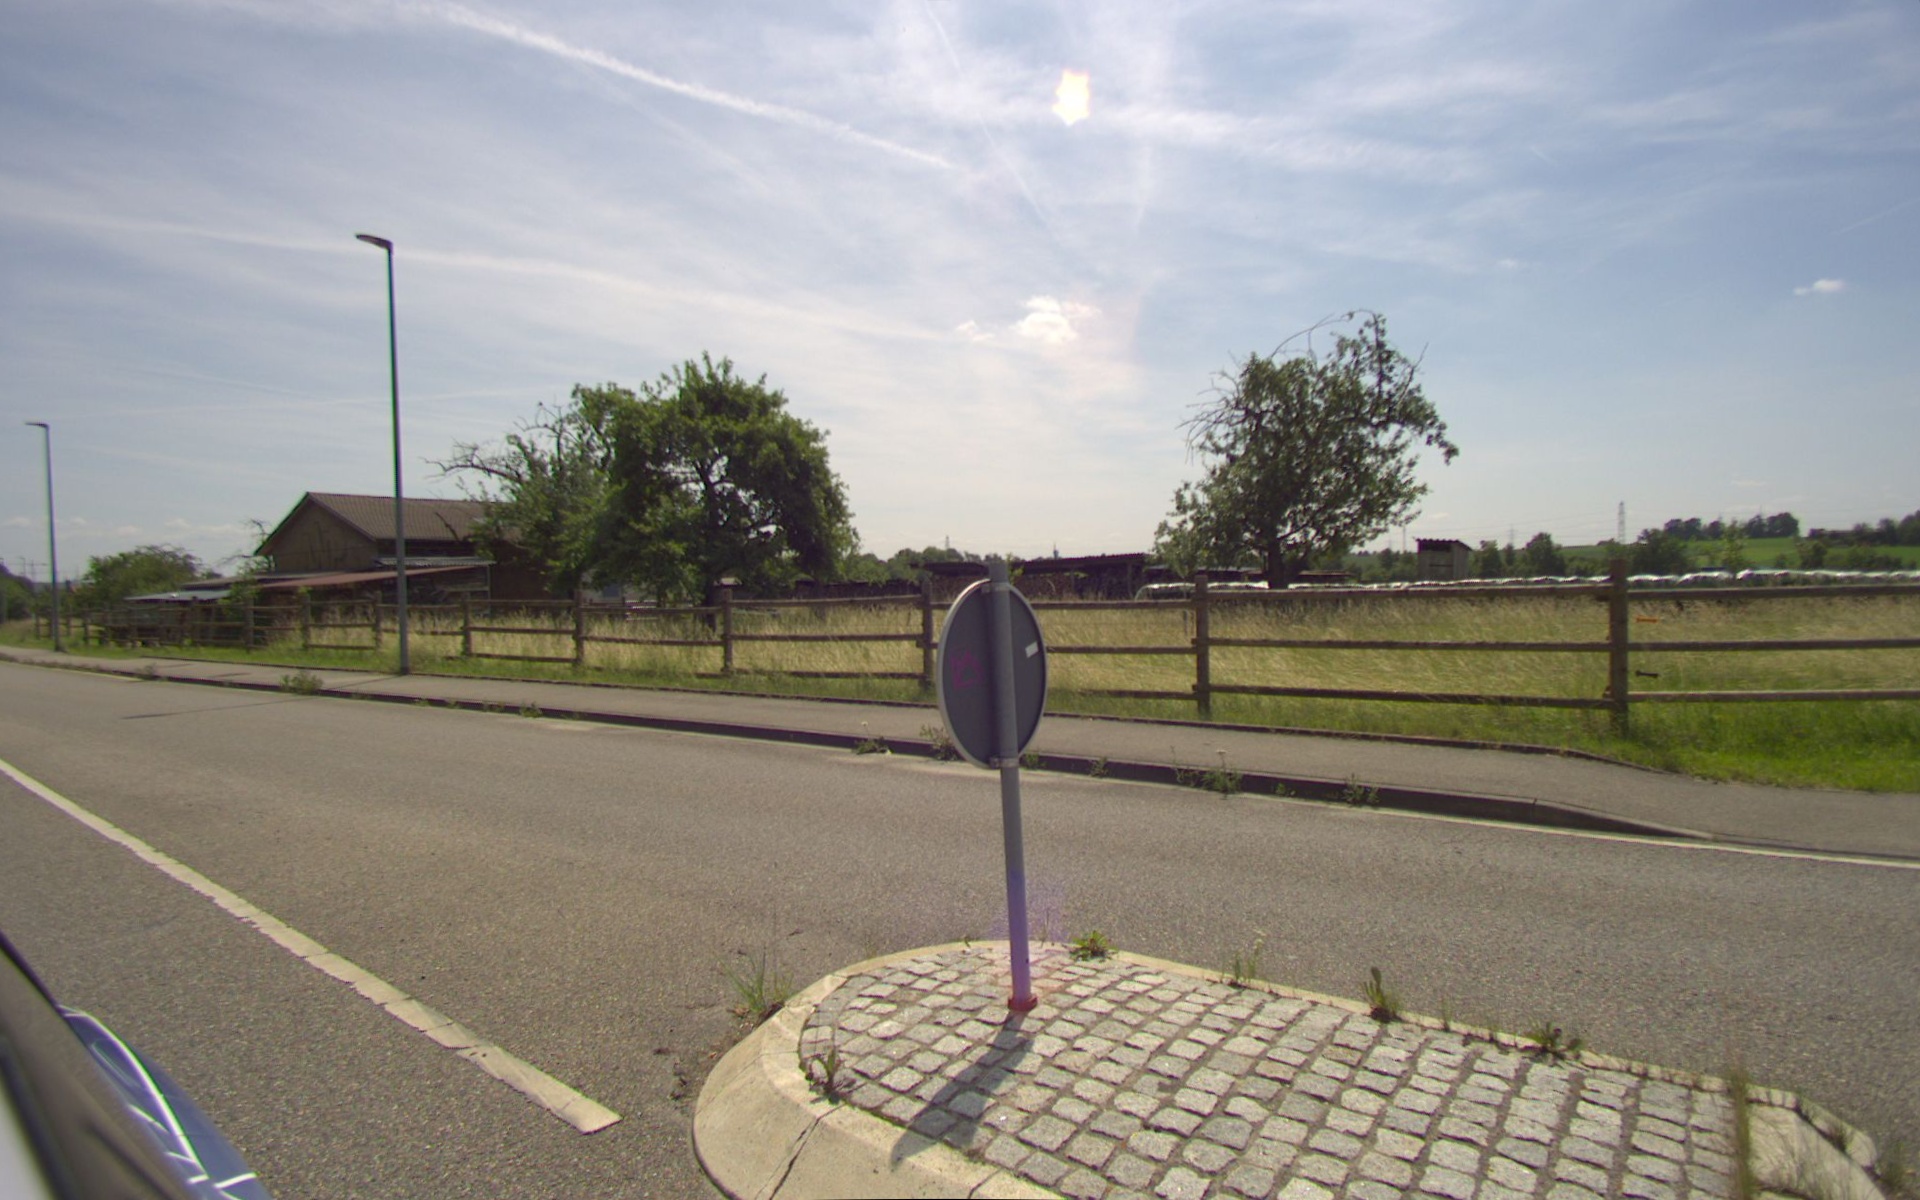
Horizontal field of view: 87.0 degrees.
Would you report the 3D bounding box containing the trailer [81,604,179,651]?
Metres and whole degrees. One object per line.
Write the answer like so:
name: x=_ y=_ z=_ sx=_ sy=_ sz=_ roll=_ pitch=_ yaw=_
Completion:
trailer: x=-32.681 y=1.062 z=39.813 sx=5.025 sy=1.716 sz=2.133 roll=-1 pitch=-1 yaw=40
